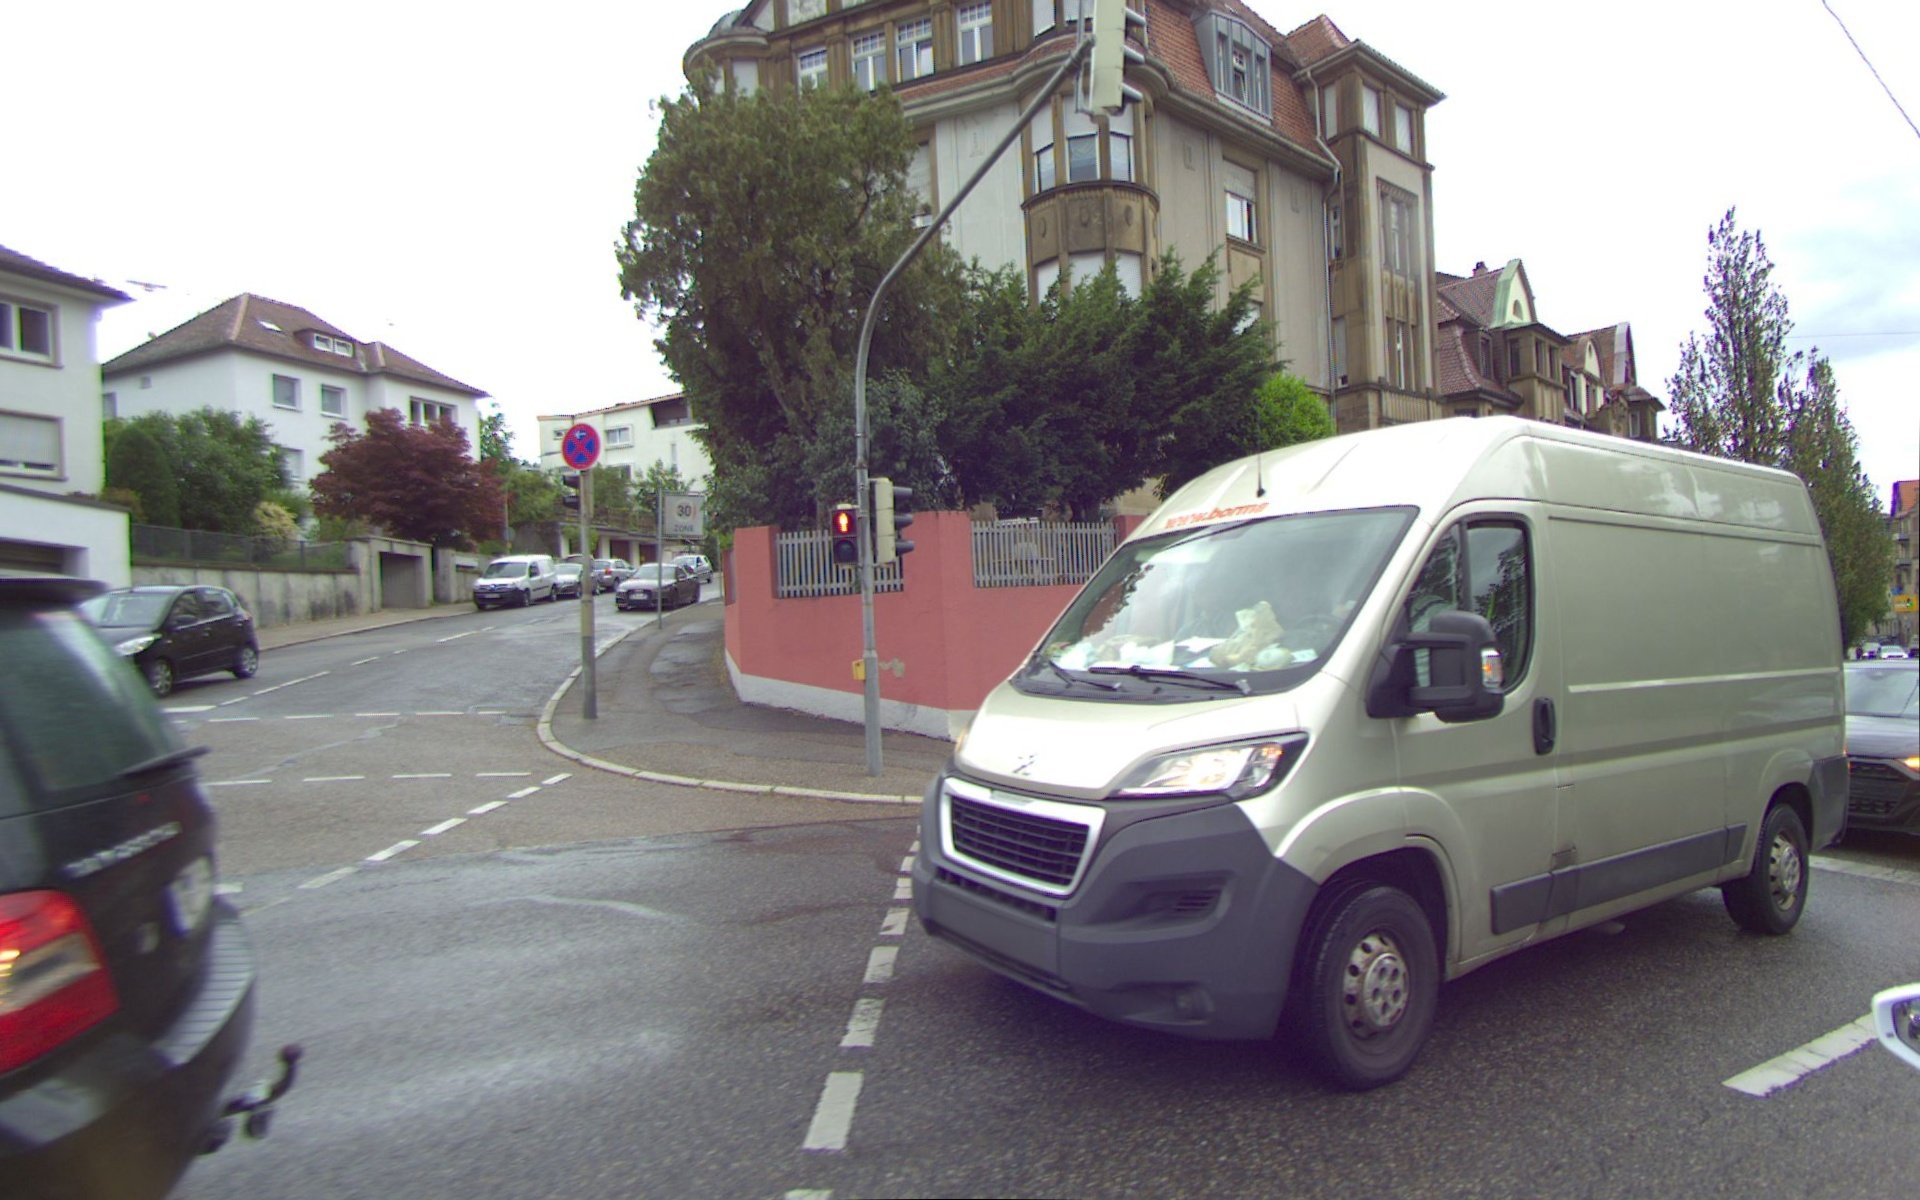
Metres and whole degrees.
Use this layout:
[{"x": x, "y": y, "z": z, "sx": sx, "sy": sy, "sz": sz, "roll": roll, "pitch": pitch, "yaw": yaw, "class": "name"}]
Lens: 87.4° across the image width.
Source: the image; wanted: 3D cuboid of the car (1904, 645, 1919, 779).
[{"x": 13.683, "y": 1.407, "z": 12.812, "sx": 4.549, "sy": 1.595, "sz": 1.860, "roll": 3, "pitch": -3, "yaw": -40, "class": "car"}]

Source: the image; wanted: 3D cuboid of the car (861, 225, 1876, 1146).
[{"x": 2.411, "y": 0.352, "z": 5.212, "sx": 5.480, "sy": 2.579, "sz": 2.106, "roll": 2, "pitch": -3, "yaw": -33, "class": "car"}]

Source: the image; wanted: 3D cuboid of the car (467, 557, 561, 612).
[{"x": -16.276, "y": -0.635, "z": 36.851, "sx": 1.799, "sy": 1.856, "sz": 3.970, "roll": -1, "pitch": 3, "yaw": -4, "class": "car"}]

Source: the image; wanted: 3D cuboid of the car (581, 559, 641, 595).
[{"x": -16.217, "y": -1.109, "z": 46.815, "sx": 1.478, "sy": 1.474, "sz": 3.517, "roll": 0, "pitch": 5, "yaw": 1, "class": "car"}]

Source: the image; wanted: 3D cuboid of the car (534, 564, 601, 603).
[{"x": -16.067, "y": -0.722, "z": 41.280, "sx": 1.478, "sy": 1.473, "sz": 3.516, "roll": 0, "pitch": 3, "yaw": -2, "class": "car"}]

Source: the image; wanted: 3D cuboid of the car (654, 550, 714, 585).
[{"x": -13.100, "y": -1.596, "z": 47.852, "sx": 1.477, "sy": 1.474, "sz": 3.519, "roll": 1, "pitch": 5, "yaw": 8, "class": "car"}]

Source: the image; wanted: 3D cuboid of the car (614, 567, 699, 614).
[{"x": -9.963, "y": -0.325, "z": 33.211, "sx": 1.673, "sy": 1.473, "sz": 3.518, "roll": -1, "pitch": 1, "yaw": 1, "class": "car"}]

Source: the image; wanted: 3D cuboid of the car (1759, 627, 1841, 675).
[{"x": 30.775, "y": 1.874, "z": 36.756, "sx": 3.971, "sy": 1.633, "sz": 1.798, "roll": 4, "pitch": -3, "yaw": -42, "class": "car"}]

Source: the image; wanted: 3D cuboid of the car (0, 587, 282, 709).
[{"x": -11.806, "y": 0.601, "z": 14.795, "sx": 1.641, "sy": 1.458, "sz": 3.360, "roll": -3, "pitch": 2, "yaw": -9, "class": "car"}]

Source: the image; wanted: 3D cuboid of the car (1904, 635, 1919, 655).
[{"x": 94.002, "y": 4.457, "z": 98.438, "sx": 1.760, "sy": 1.879, "sz": 3.984, "roll": -1, "pitch": -4, "yaw": 38, "class": "car"}]

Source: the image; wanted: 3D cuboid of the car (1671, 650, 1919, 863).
[{"x": 7.808, "y": 1.172, "z": 8.507, "sx": 3.964, "sy": 1.448, "sz": 1.802, "roll": 3, "pitch": -4, "yaw": -37, "class": "car"}]

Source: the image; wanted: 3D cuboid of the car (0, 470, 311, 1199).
[{"x": -3.407, "y": 0.637, "z": 1.251, "sx": 4.298, "sy": 1.674, "sz": 1.811, "roll": 1, "pitch": -1, "yaw": -32, "class": "car"}]

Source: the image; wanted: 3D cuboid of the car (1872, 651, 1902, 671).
[{"x": 80.899, "y": 5.300, "z": 87.648, "sx": 1.803, "sy": 1.672, "sz": 3.978, "roll": -4, "pitch": -5, "yaw": 43, "class": "car"}]
